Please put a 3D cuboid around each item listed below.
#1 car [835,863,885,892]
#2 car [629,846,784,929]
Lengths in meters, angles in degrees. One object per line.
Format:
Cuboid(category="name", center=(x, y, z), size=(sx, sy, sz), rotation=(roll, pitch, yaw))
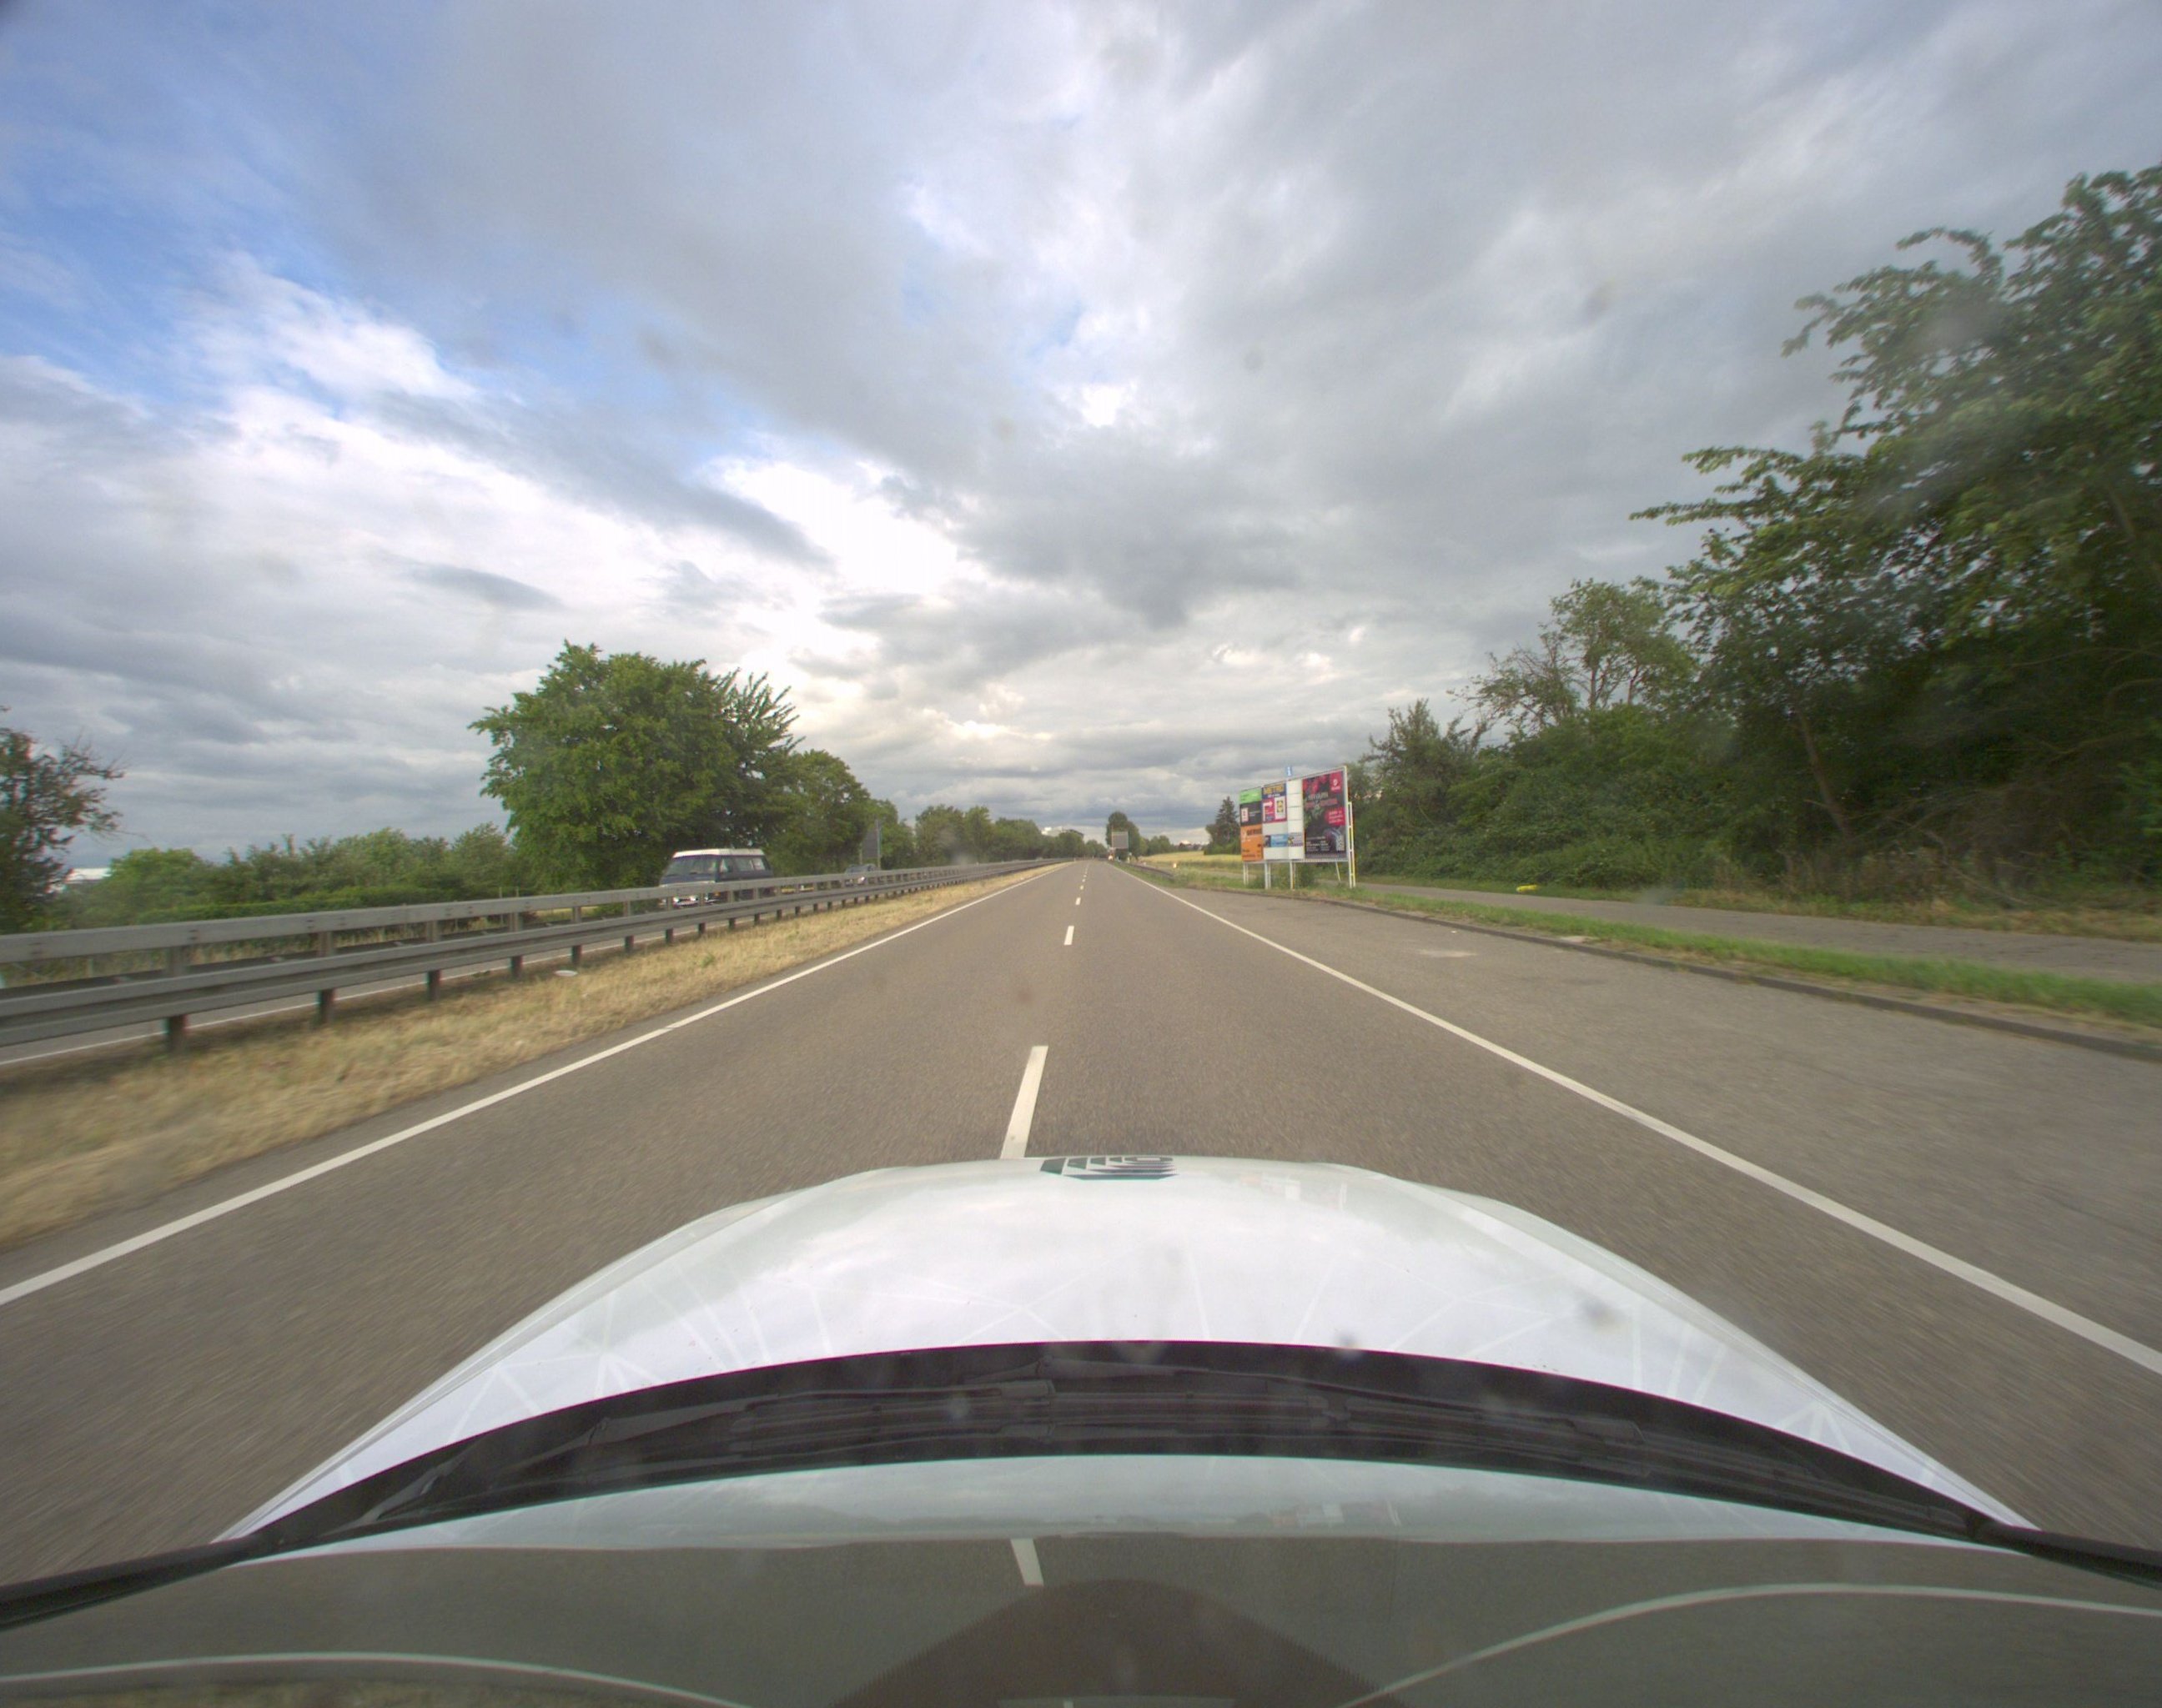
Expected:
Cuboid(category="car", center=(-14.159, 1.475, 52.491), size=(1.791, 1.625, 4.485), rotation=(-3, 0, 2))
Cuboid(category="car", center=(-11.160, 0.928, 24.790), size=(1.986, 2.140, 5.321), rotation=(-3, 0, 2))
